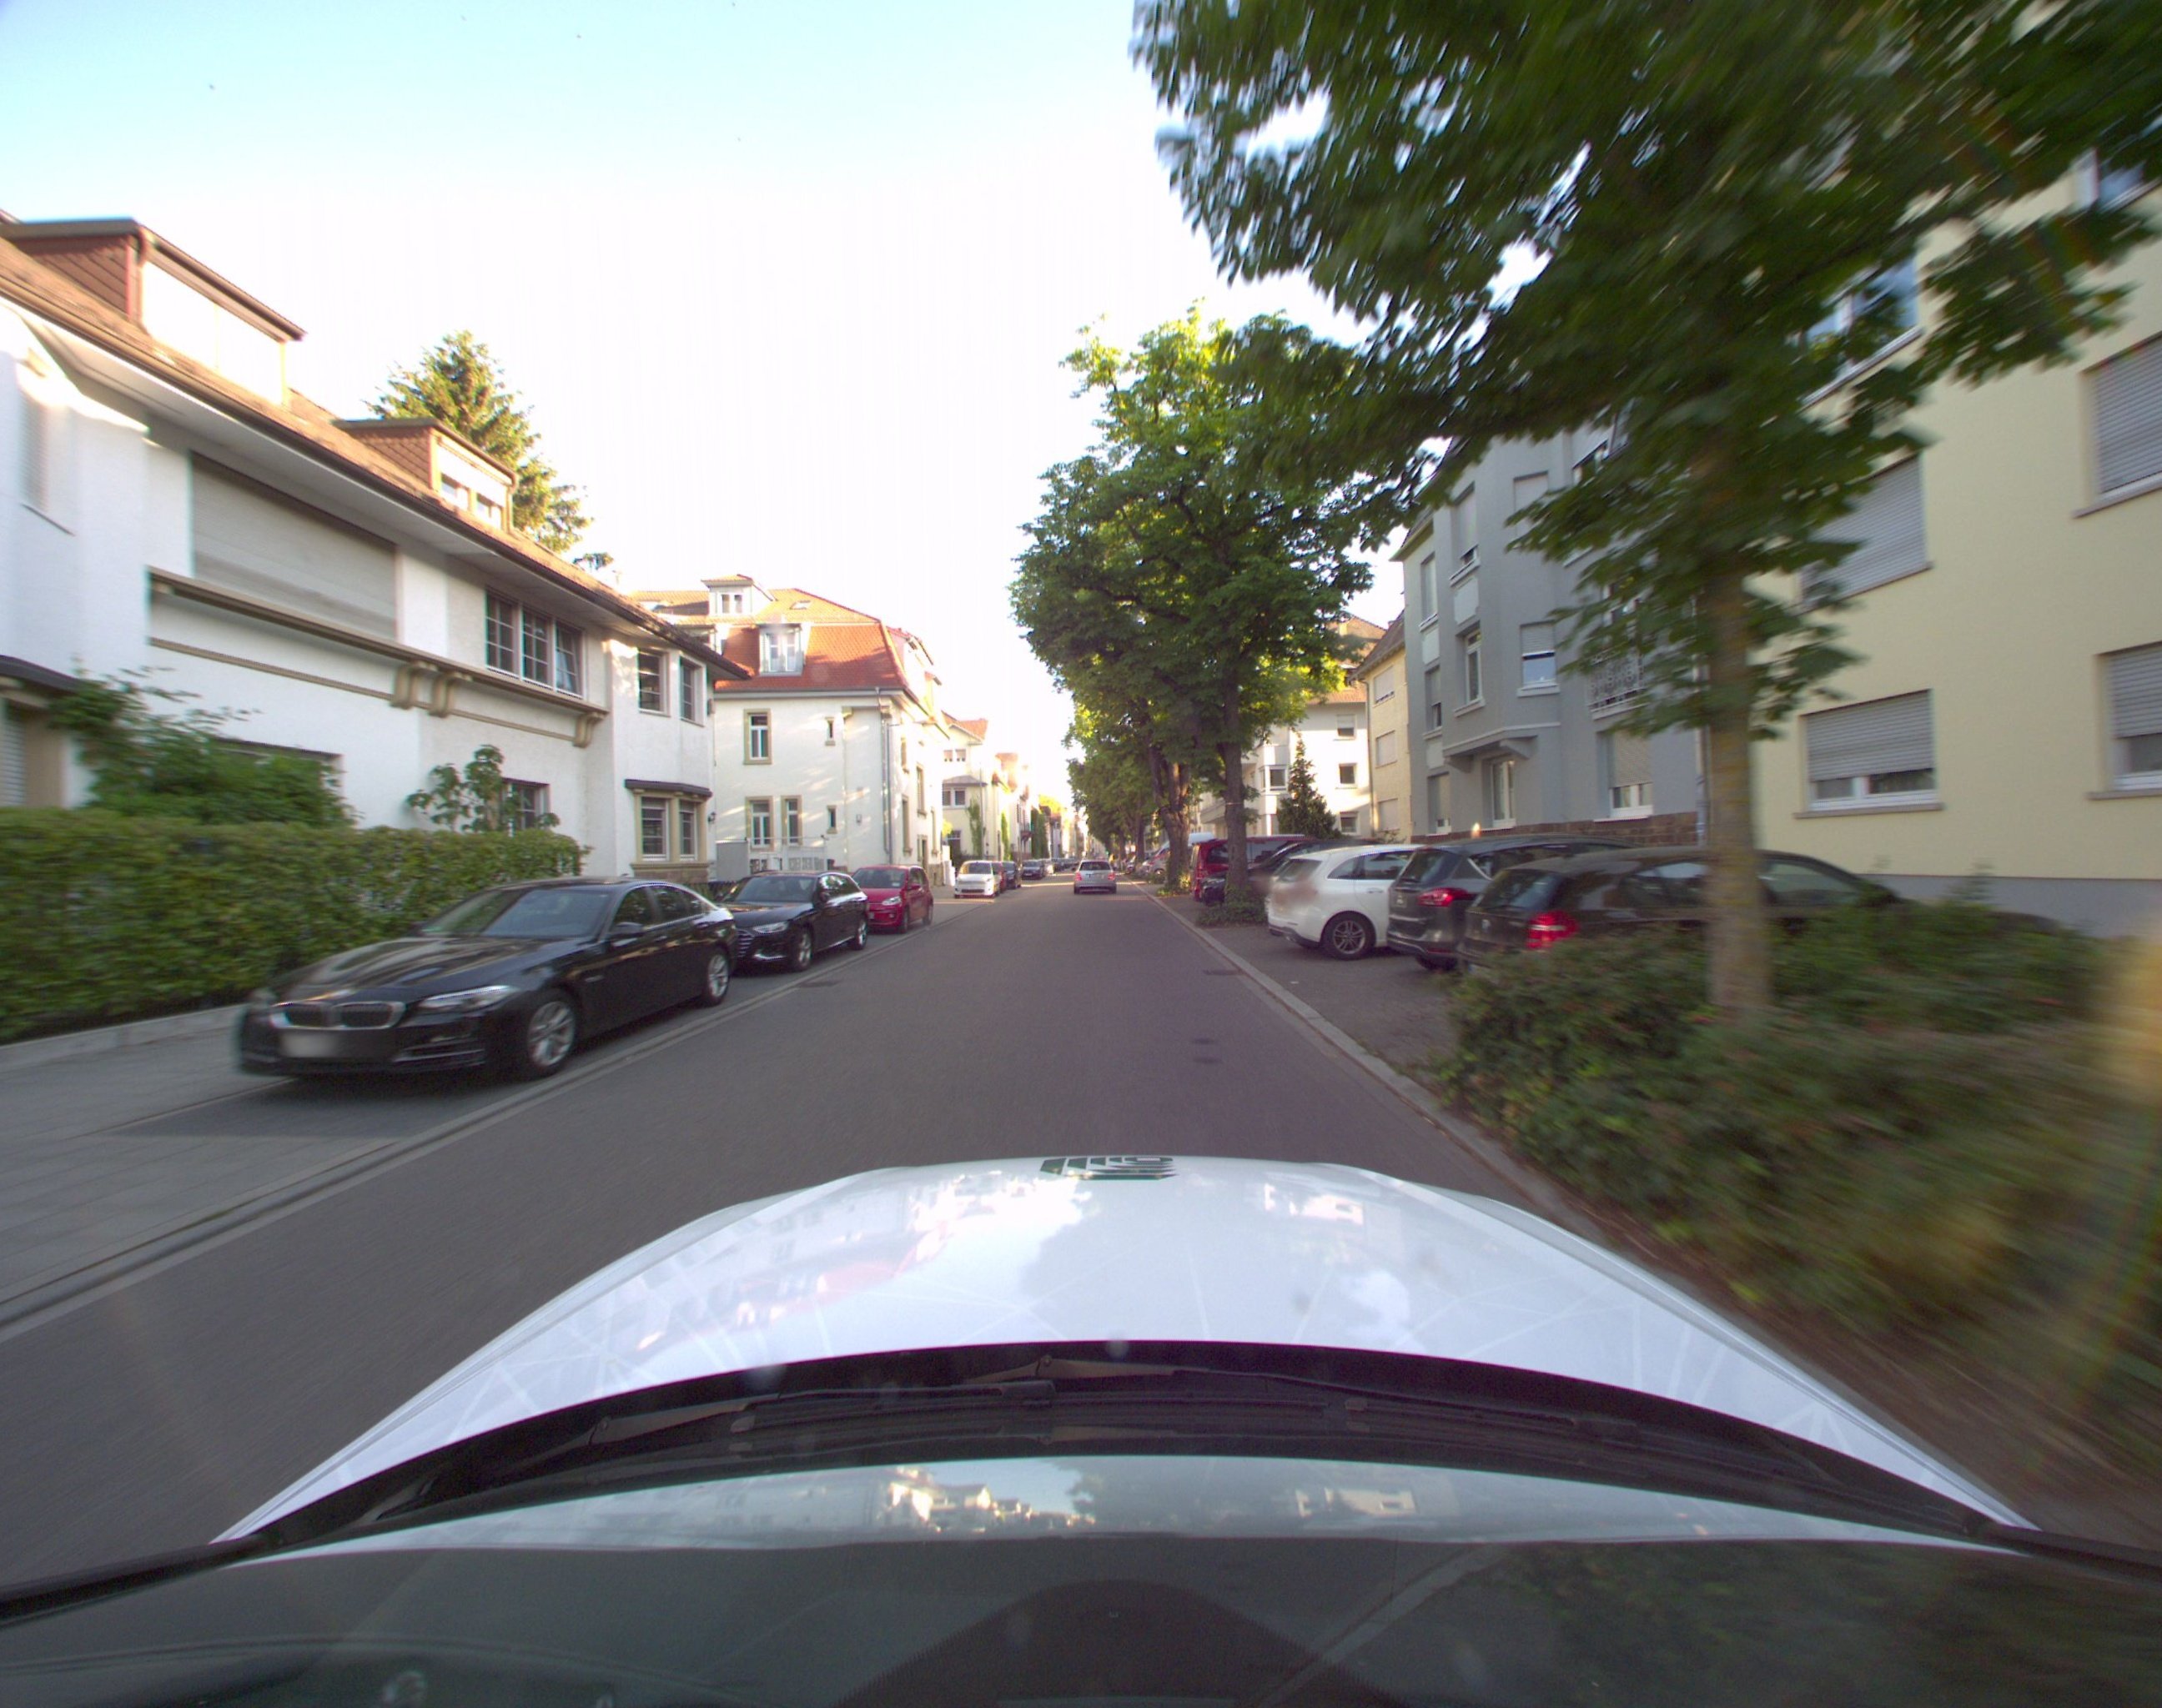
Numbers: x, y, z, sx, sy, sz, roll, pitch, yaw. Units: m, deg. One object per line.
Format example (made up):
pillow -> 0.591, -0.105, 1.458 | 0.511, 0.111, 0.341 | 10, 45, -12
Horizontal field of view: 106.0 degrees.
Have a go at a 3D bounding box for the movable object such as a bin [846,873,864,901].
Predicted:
movable object such as a bin -> -9.110, 1.320, 32.878 | 0.525, 1.107, 0.589 | -1, -2, 1

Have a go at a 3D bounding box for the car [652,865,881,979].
car -> -4.807, 0.944, 13.296 | 1.777, 1.498, 4.701 | -1, -1, 2

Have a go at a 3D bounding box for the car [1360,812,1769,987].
car -> 5.225, 0.465, 9.161 | 3.536, 1.654, 1.725 | -2, -1, 0

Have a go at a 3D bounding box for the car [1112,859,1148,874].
car -> 5.318, 1.306, 88.346 | 3.830, 1.482, 1.806 | -2, 0, 2

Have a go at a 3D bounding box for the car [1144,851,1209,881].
car -> 5.648, 0.690, 48.295 | 3.584, 1.660, 1.649 | -2, 0, -1

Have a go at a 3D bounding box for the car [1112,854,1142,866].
car -> 5.813, 0.755, 103.215 | 3.830, 1.482, 1.806 | -2, 0, 2

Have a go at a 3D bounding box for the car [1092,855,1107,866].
car -> 2.626, 0.943, 114.492 | 1.809, 1.473, 4.220 | -2, -1, 4

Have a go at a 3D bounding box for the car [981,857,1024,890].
car -> -4.121, 1.004, 43.240 | 1.793, 1.644, 3.858 | -1, 0, 1

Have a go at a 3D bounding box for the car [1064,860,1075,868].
car -> -2.111, 1.888, 151.572 | 1.793, 1.387, 3.607 | -1, 0, 1

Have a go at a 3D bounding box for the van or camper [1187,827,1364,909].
van or camper -> 5.062, 0.369, 21.722 | 4.294, 2.014, 2.002 | -1, 0, 3

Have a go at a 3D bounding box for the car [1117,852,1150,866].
car -> 6.148, 0.602, 95.344 | 3.830, 1.482, 1.806 | -2, 0, 2

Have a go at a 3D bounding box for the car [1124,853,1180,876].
car -> 5.055, 0.734, 58.181 | 3.830, 1.482, 1.806 | -2, 0, 2

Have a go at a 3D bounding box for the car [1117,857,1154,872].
car -> 5.739, 1.067, 86.076 | 3.830, 1.482, 1.806 | -2, 0, 2

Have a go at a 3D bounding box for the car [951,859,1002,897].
car -> -4.305, 0.974, 34.003 | 1.654, 1.499, 3.752 | -1, -1, -1

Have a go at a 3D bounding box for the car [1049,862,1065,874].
car -> -2.926, 1.736, 101.345 | 1.793, 1.387, 3.607 | -1, 0, 1

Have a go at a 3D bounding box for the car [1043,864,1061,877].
car -> -3.289, 1.859, 91.585 | 1.793, 1.387, 3.607 | -1, 0, 1

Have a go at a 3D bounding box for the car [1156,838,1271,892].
car -> 5.133, 0.428, 31.933 | 4.117, 1.921, 1.890 | -2, 0, -1

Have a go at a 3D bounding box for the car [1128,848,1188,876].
car -> 6.061, 0.610, 64.466 | 4.505, 2.013, 2.250 | -2, 0, -1

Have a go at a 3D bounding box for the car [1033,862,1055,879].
car -> -3.489, 1.563, 77.403 | 1.793, 1.482, 3.858 | -1, 0, 1

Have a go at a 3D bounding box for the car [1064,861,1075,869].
car -> -2.052, 1.914, 142.747 | 1.793, 1.387, 3.607 | -1, 0, 1

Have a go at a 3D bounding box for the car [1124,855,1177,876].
car -> 5.146, 0.855, 60.736 | 3.830, 1.482, 1.806 | -2, 0, 2

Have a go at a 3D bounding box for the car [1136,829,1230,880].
car -> 6.361, 0.025, 51.304 | 5.527, 2.968, 2.470 | -2, 0, -2

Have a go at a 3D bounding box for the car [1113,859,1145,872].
car -> 5.873, 1.396, 100.416 | 3.830, 1.482, 1.806 | -2, 0, 2

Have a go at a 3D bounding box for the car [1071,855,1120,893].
car -> 0.681, 0.855, 34.763 | 1.809, 1.473, 4.220 | -2, -1, 4

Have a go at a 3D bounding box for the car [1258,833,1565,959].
car -> 4.629, 0.571, 11.798 | 3.718, 1.558, 1.725 | -2, -1, 0

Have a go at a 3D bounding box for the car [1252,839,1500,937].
car -> 5.174, 0.570, 14.605 | 3.804, 1.568, 1.741 | -1, 0, -3

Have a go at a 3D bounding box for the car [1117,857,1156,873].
car -> 5.635, 1.070, 82.633 | 3.830, 1.482, 1.806 | -2, 0, 2

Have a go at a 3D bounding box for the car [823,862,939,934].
car -> -4.560, 0.958, 19.087 | 1.653, 1.488, 3.755 | -1, -1, 2

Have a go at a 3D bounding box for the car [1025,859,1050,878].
car -> -3.531, 1.156, 66.917 | 1.793, 1.482, 3.858 | -1, 0, 1

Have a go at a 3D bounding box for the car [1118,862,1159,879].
car -> 5.507, 1.597, 78.236 | 3.830, 1.482, 1.806 | -2, 0, 2

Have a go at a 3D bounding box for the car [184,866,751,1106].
car -> -4.911, 0.885, 7.611 | 1.849, 1.498, 4.651 | -1, -1, -2

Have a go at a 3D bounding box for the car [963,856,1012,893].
car -> -4.384, 0.986, 38.879 | 1.793, 1.644, 3.857 | -1, -2, 1

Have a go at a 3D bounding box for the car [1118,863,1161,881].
car -> 5.397, 1.680, 75.480 | 3.830, 1.482, 1.806 | -2, 0, 2

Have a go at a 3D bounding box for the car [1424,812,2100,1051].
car -> 5.089, 0.557, 6.572 | 3.908, 1.558, 1.727 | -2, 0, 4

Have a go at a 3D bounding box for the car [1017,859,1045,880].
car -> -3.762, 1.118, 61.532 | 1.793, 1.482, 3.858 | -1, 0, 1

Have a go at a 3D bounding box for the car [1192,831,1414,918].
car -> 5.007, 0.458, 18.834 | 4.610, 1.836, 1.954 | -1, 0, 0
